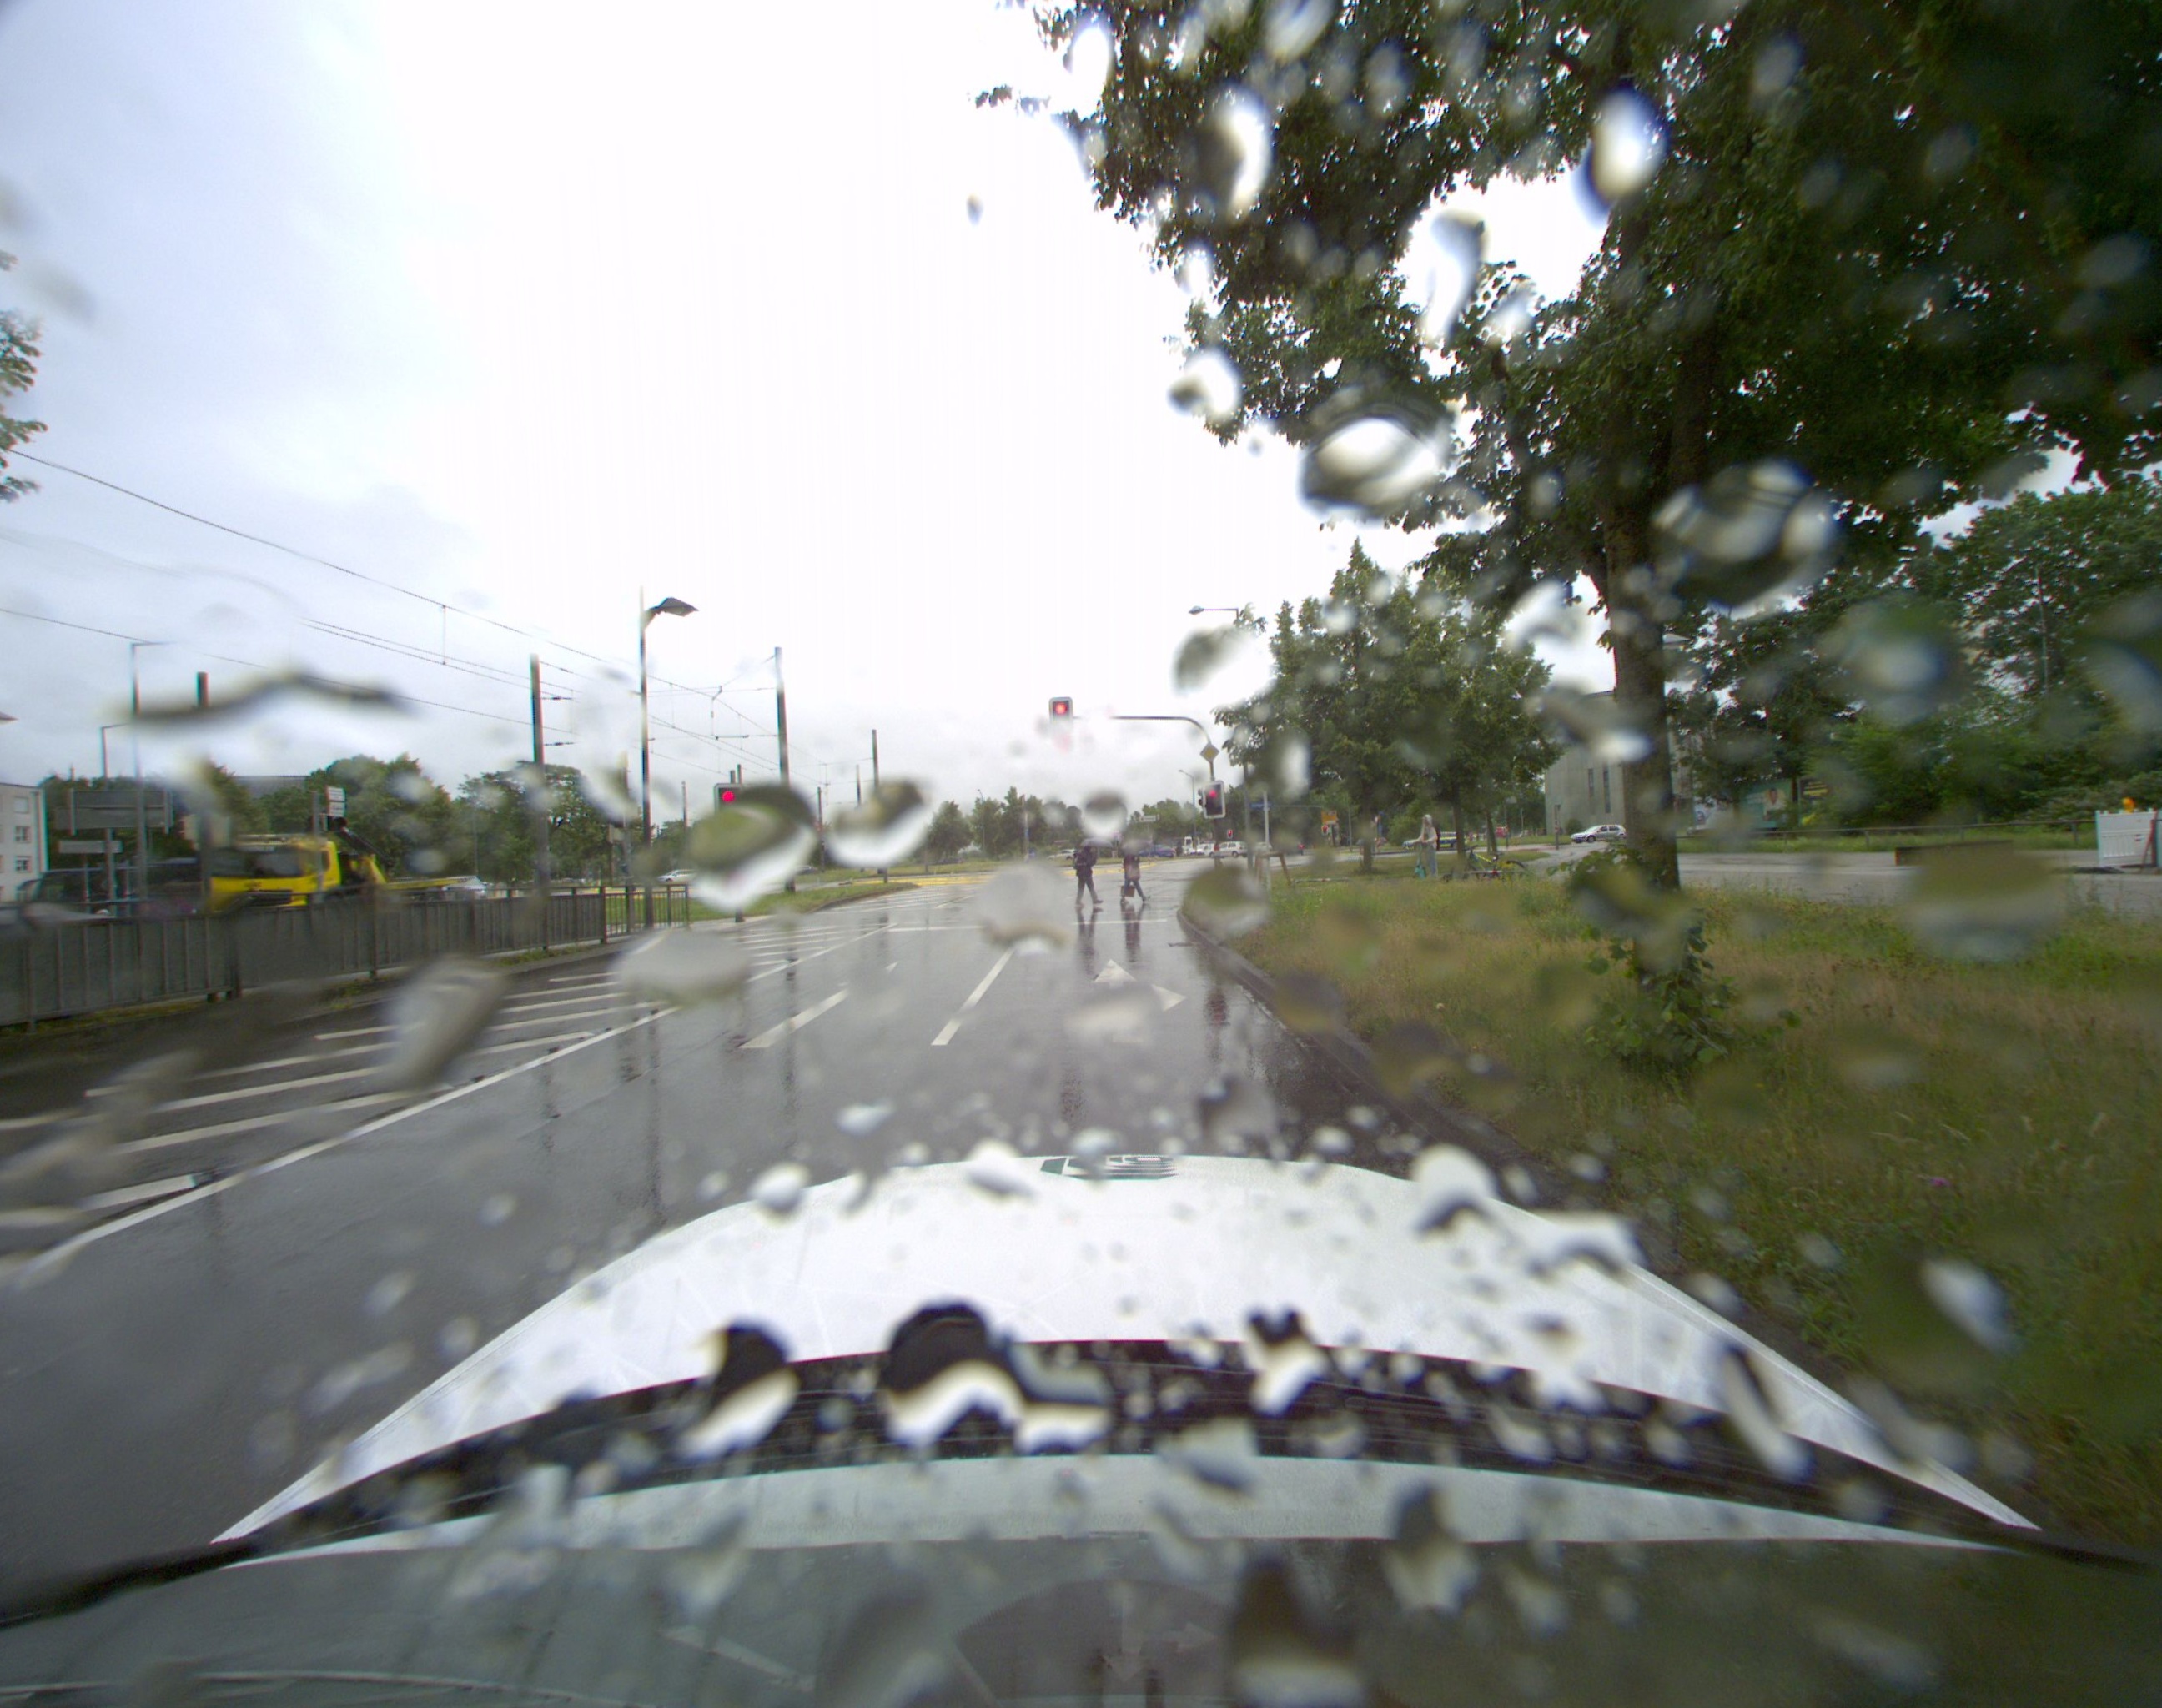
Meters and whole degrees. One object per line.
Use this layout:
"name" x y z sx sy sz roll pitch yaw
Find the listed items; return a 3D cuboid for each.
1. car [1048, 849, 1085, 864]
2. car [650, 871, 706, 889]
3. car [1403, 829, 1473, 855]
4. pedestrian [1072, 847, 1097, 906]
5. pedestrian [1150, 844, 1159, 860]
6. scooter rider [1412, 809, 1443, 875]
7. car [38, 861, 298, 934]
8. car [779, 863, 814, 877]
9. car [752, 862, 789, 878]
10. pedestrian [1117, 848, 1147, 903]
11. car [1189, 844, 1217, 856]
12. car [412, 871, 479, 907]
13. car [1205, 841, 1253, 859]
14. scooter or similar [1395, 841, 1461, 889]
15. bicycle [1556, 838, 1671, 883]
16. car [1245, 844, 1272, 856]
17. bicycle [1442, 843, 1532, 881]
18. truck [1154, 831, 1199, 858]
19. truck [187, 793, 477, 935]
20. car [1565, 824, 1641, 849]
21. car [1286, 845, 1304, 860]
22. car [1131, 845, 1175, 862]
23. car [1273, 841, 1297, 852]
"car" -1.591 0.268 89.116 4.061 1.454 1.633 -2 0 44
"car" -39.367 2.501 79.669 1.602 1.454 4.653 -2 0 34
"car" 28.514 -0.937 65.137 4.733 1.851 2.005 -2 0 8
"pedestrian" 0.095 0.580 21.368 0.619 1.522 0.741 -1 0 0
"pedestrian" 6.137 -0.190 68.063 0.448 1.304 0.489 -2 0 40
"scooter rider" 9.125 -0.318 21.465 0.530 1.709 0.433 -3 0 -5
"car" -59.187 2.658 53.334 2.425 3.720 11.034 -3 1 38
"car" -32.431 1.786 92.769 3.496 1.543 1.605 0 -1 -34
"car" -37.625 1.933 98.706 1.660 1.816 4.025 -1 -1 30
"pedestrian" 1.400 0.580 22.359 0.678 1.461 0.573 -3 -1 -3
"car" 16.471 -0.521 109.848 1.779 1.662 4.159 -1 -1 42
"car" -31.792 1.735 40.720 4.348 1.627 2.012 -2 0 44
"car" 13.170 -0.327 72.563 3.937 1.454 1.633 -2 0 43
"scooter or similar" 9.135 0.288 21.443 1.582 1.259 0.447 0 -1 -5
"bicycle" 9.913 0.132 15.252 0.453 0.787 1.998 0 -1 -15
"car" 24.968 -0.521 114.621 1.779 1.662 4.436 -1 -1 42
"bicycle" 8.875 0.172 17.886 0.382 0.787 1.840 0 -1 -32
"truck" 10.319 -0.949 87.611 2.439 2.686 8.105 -1 -1 24
"truck" -23.473 0.307 26.451 2.690 3.778 9.141 0 -1 -13
"car" 41.825 -1.391 65.288 4.738 1.851 2.003 0 -1 5
"car" 22.168 -0.214 84.411 1.607 1.454 4.003 -2 0 14
"car" 6.903 -0.063 78.120 3.936 1.454 1.634 -2 0 38
"car" 32.089 -1.183 127.898 1.779 1.662 4.437 -2 0 42
